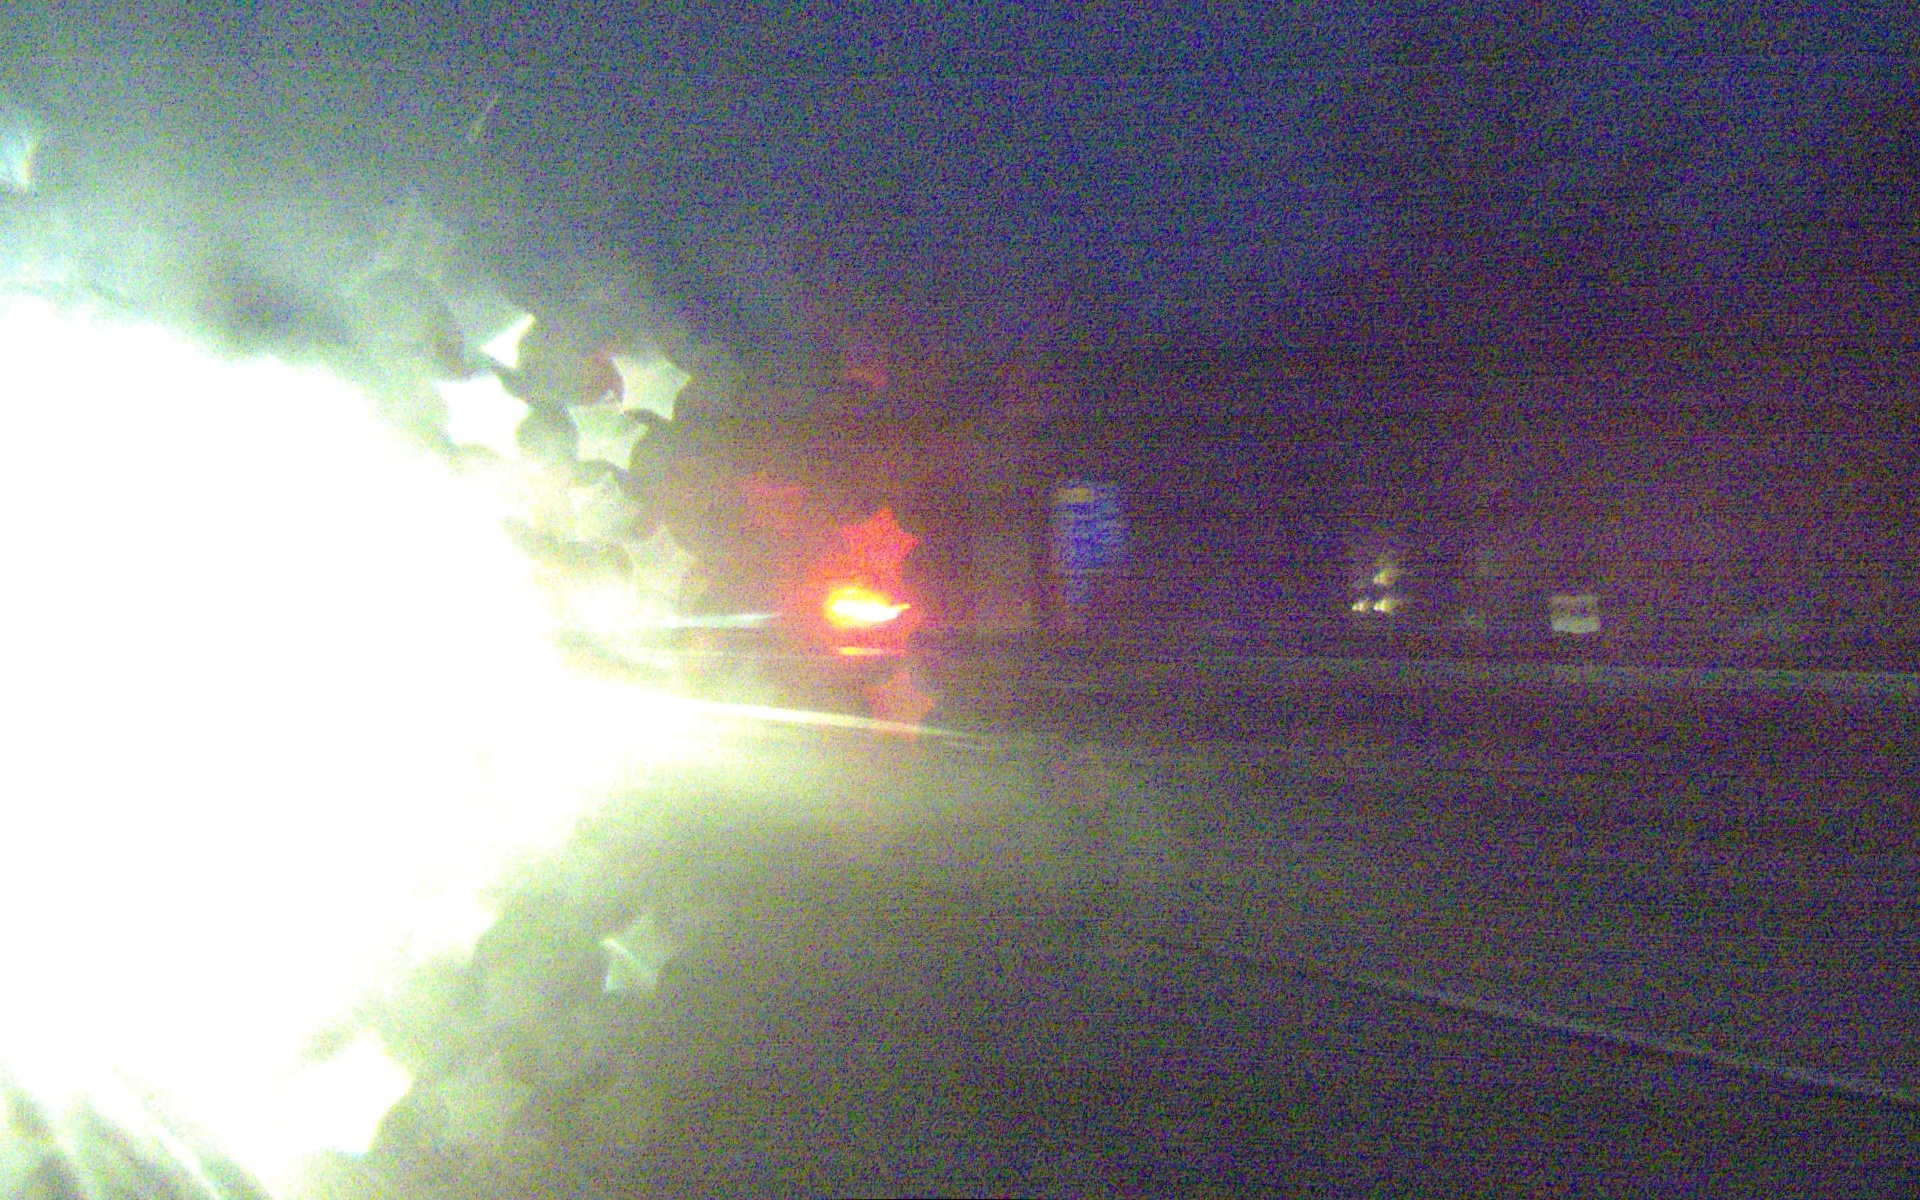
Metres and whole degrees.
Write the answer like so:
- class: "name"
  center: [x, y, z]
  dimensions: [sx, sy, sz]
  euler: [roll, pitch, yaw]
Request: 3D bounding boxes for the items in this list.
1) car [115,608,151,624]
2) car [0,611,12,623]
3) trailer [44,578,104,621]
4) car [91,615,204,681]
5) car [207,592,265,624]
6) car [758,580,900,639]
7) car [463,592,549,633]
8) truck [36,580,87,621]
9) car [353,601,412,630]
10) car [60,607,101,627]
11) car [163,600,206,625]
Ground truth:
- class: "car"
  center: [-75.915, 1.461, 92.830]
  dimensions: [4.164, 1.405, 1.820]
  euler: [-1, -1, 40]
- class: "car"
  center: [-124.823, 2.243, 131.695]
  dimensions: [3.716, 1.507, 1.688]
  euler: [0, 1, 41]
- class: "trailer"
  center: [-90.594, 0.002, 103.345]
  dimensions: [11.718, 4.205, 3.319]
  euler: [-1, 0, 42]
- class: "car"
  center: [-21.102, 1.203, 26.235]
  dimensions: [3.847, 1.587, 1.632]
  euler: [-2, -2, 41]
- class: "car"
  center: [-46.511, 0.502, 64.945]
  dimensions: [5.135, 1.924, 1.965]
  euler: [0, 1, 42]
- class: "car"
  center: [-4.034, 0.259, 30.767]
  dimensions: [4.329, 1.660, 1.823]
  euler: [0, 1, 39]
- class: "car"
  center: [-19.149, 0.534, 42.601]
  dimensions: [4.198, 1.624, 1.789]
  euler: [-1, 0, 43]
- class: "truck"
  center: [-96.382, 0.083, 108.496]
  dimensions: [6.462, 4.205, 3.329]
  euler: [-1, 0, 42]
- class: "car"
  center: [-32.027, 0.849, 56.065]
  dimensions: [3.802, 1.506, 1.745]
  euler: [0, 1, 42]
- class: "car"
  center: [-71.079, 1.360, 81.812]
  dimensions: [4.303, 1.520, 1.863]
  euler: [0, 1, 40]
- class: "car"
  center: [-62.403, 0.984, 81.399]
  dimensions: [4.842, 1.924, 1.871]
  euler: [0, 1, 42]
